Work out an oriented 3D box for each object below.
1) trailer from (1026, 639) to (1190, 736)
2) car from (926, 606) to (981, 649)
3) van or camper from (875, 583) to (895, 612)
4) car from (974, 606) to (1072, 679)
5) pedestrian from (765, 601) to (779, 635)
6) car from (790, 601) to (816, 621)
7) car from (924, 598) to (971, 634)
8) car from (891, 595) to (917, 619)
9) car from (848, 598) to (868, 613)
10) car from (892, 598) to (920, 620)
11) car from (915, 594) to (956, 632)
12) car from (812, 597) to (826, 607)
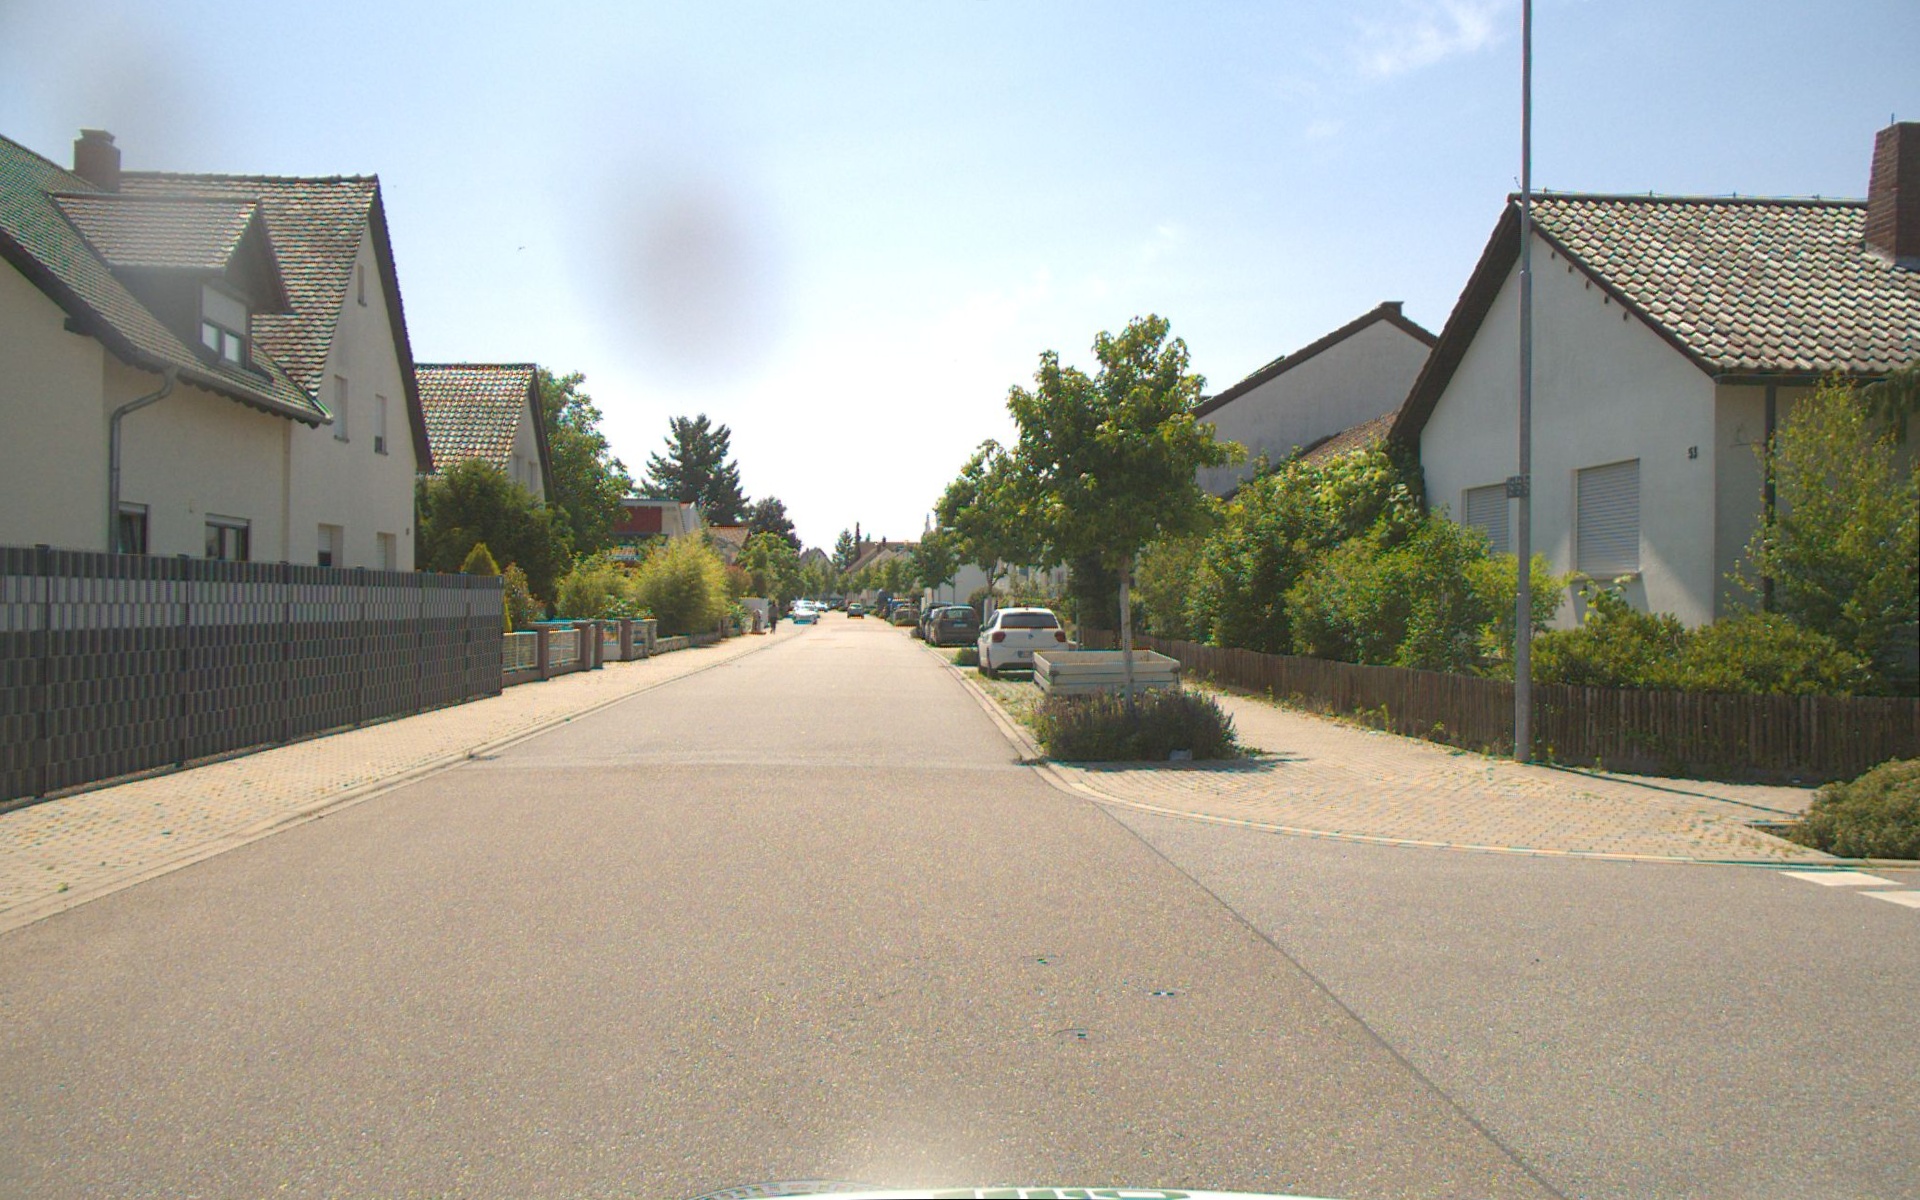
[{"bbox_3d":[1.831,1.081,21.255,1.752,1.077,2.897,0,0,-2],"label":"trailer"},{"bbox_3d":[-0.281,1.014,63.096,1.708,1.560,4.443,0,0,-6],"label":"car"},{"bbox_3d":[-8.040,-0.252,177.161,1.954,2.993,3.997,0,0,-4],"label":"van or camper"},{"bbox_3d":[1.296,0.879,35.602,1.778,1.445,3.866,0,0,-3],"label":"car"},{"bbox_3d":[-9.904,0.957,87.118,0.700,1.778,0.960,0,0,-4],"label":"pedestrian"},{"bbox_3d":[-12.254,0.831,129.356,1.815,1.514,4.382,0,0,-4],"label":"car"},{"bbox_3d":[-0.562,0.640,68.886,1.778,1.445,4.090,0,0,-3],"label":"car"},{"bbox_3d":[-4.667,0.573,138.090,2.057,1.915,4.840,0,0,-3],"label":"car"},{"bbox_3d":[-10.370,0.527,168.339,1.953,1.455,3.998,0,0,-2],"label":"car"},{"bbox_3d":[-3.973,0.644,121.236,1.739,1.623,4.273,0,0,-6],"label":"car"},{"bbox_3d":[-1.190,0.605,78.287,1.778,1.685,4.562,0,1,-3],"label":"car"},{"bbox_3d":[-19.925,0.277,233.913,1.815,1.504,4.698,0,0,-2],"label":"car"}]
